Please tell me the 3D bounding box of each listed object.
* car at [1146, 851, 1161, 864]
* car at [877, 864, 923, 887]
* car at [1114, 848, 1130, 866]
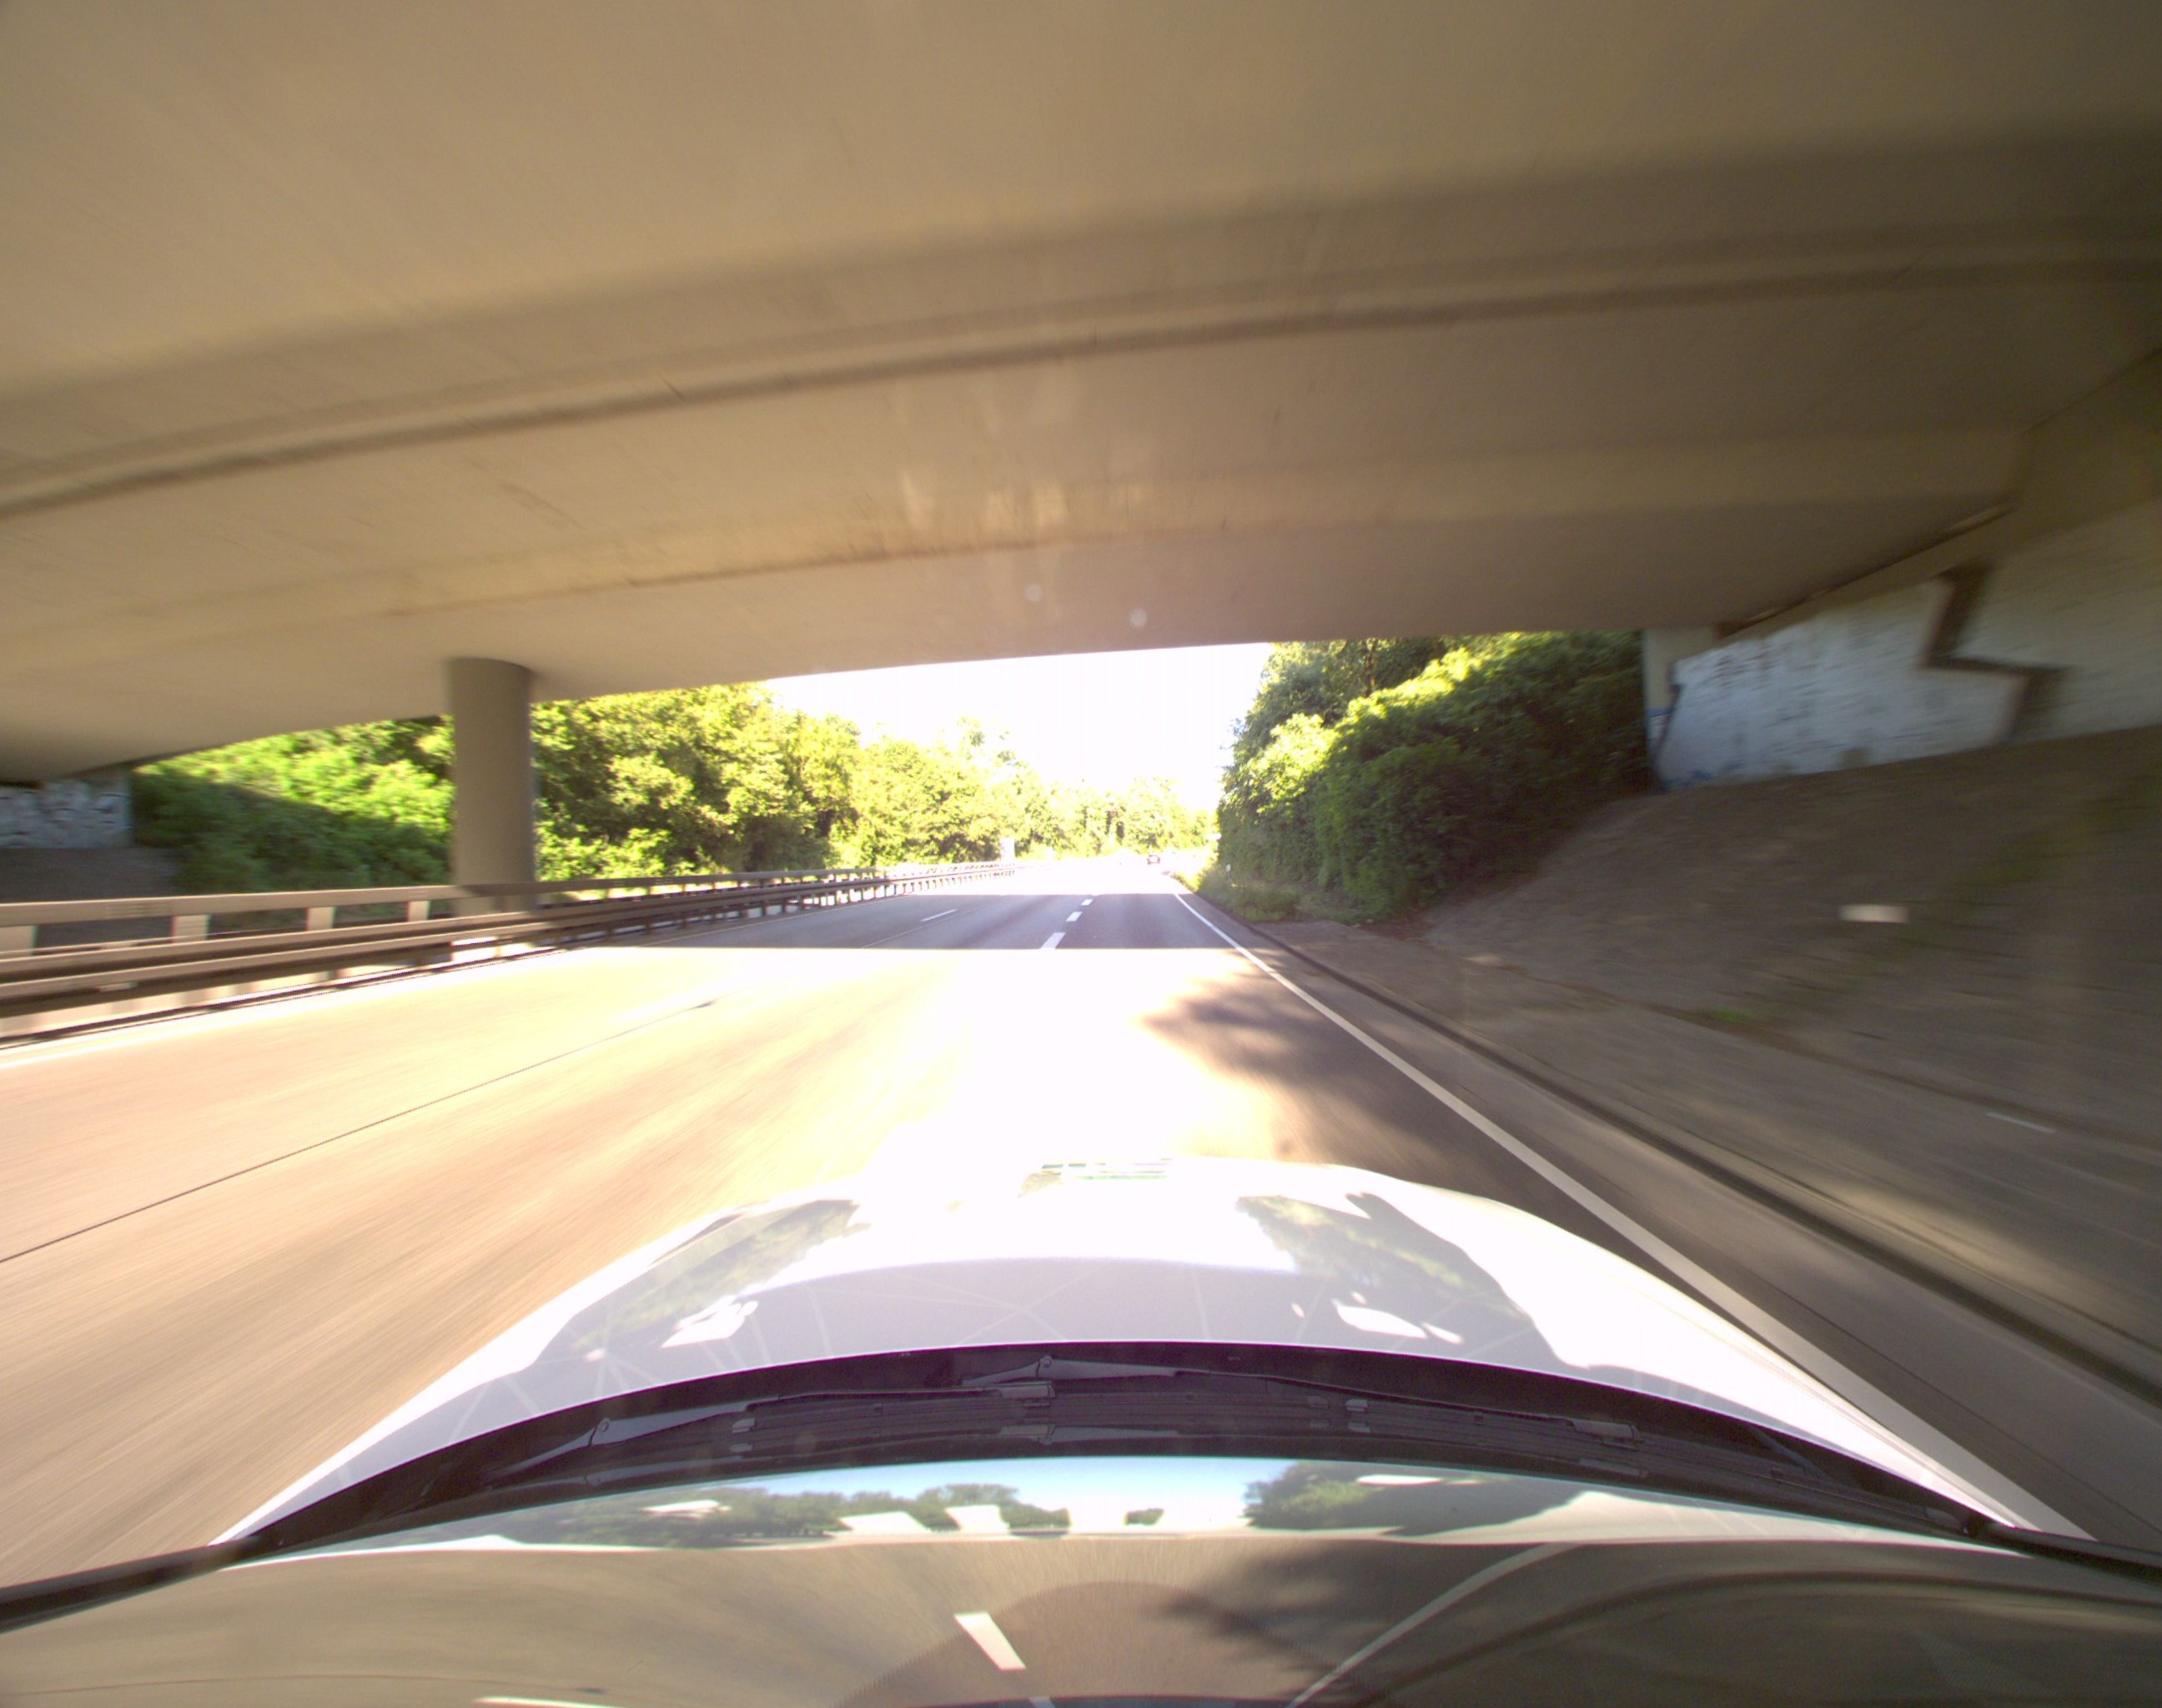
[{"bbox_3d":[9.669,0.465,108.266,1.730,1.662,3.954,-2,0,7],"label":"car"},{"bbox_3d":[-13.546,1.579,61.178,1.984,1.594,4.735,0,0,6],"label":"car"},{"bbox_3d":[5.329,0.356,106.837,1.986,2.277,4.002,-2,0,2],"label":"car"}]
